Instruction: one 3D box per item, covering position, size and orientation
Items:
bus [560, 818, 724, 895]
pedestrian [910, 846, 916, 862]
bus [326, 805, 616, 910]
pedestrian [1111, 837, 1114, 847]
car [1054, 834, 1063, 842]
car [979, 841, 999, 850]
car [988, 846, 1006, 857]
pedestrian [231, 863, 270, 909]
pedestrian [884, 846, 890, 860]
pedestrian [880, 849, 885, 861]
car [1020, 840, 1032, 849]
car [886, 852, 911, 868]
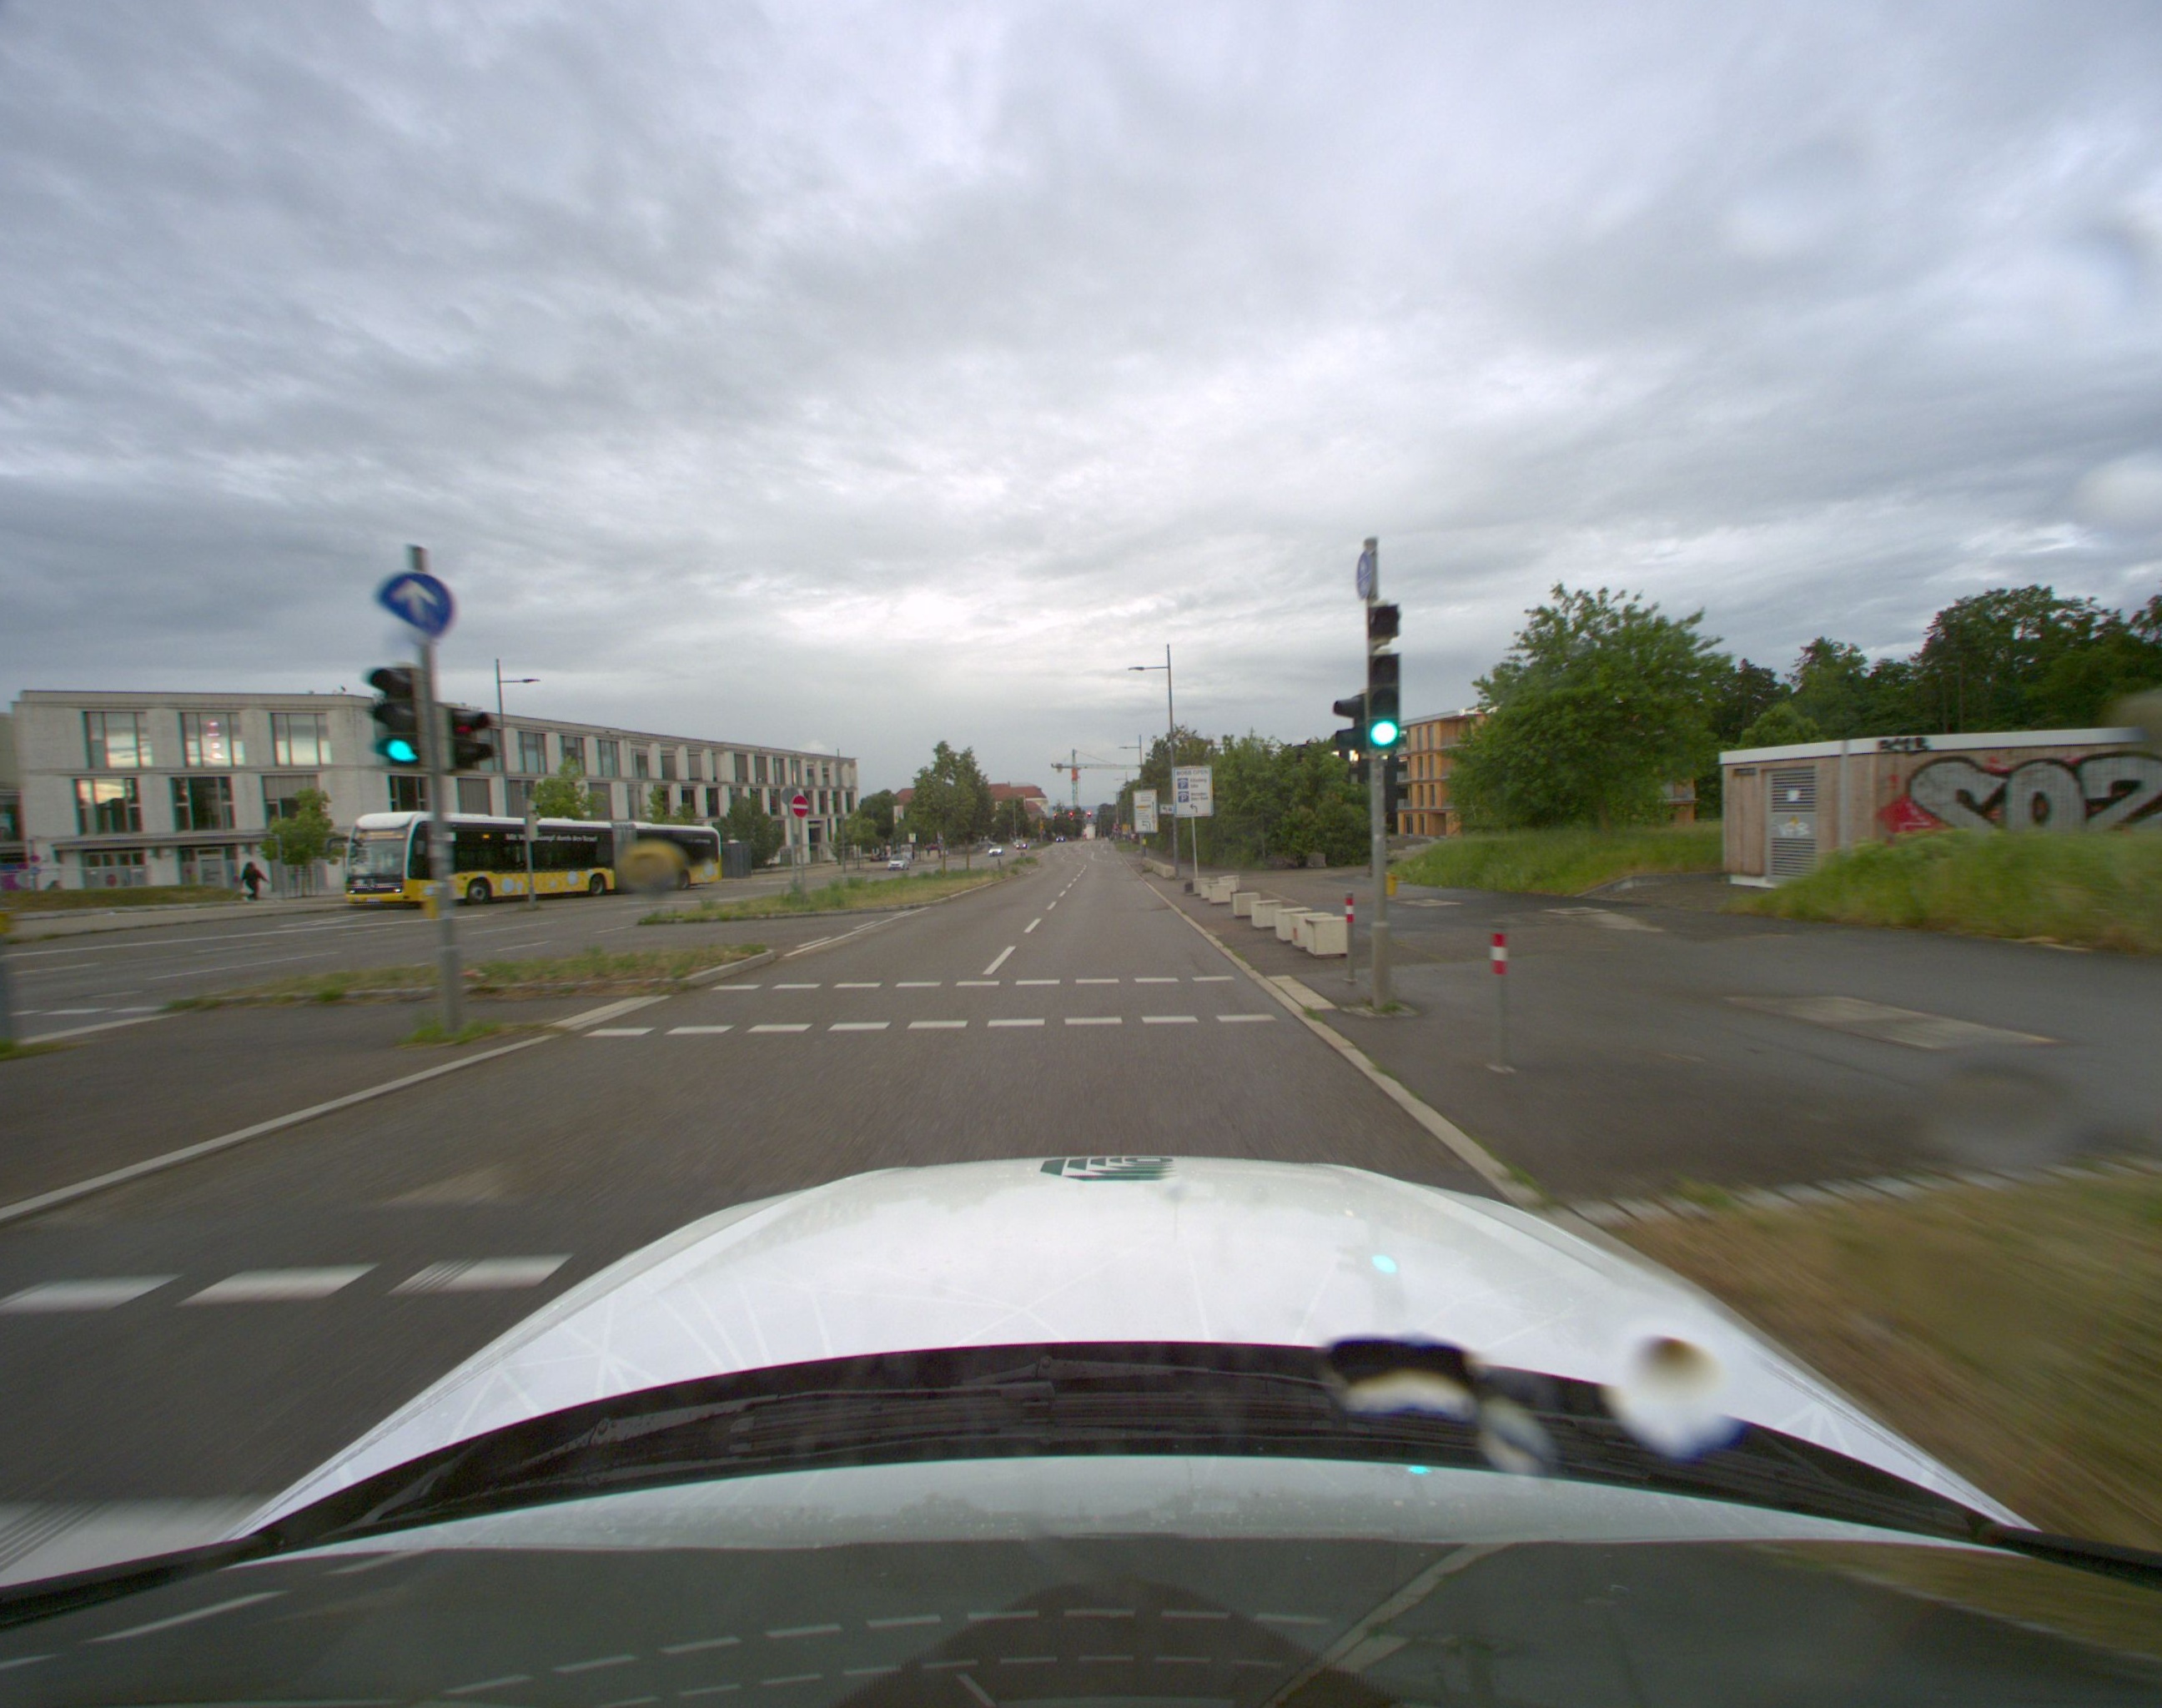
[{"bbox_3d":[-21.823,0.099,41.171,2.805,3.472,8.252,-1,0,9],"label":"bus"},{"bbox_3d":[-20.013,0.031,97.172,0.505,1.842,0.756,-2,1,1],"label":"pedestrian"},{"bbox_3d":[-23.220,0.114,32.123,2.805,3.472,9.999,-1,0,9],"label":"bus"},{"bbox_3d":[6.044,-2.312,157.362,0.398,2.013,0.515,-5,1,7],"label":"pedestrian"},{"bbox_3d":[-5.931,-4.218,214.948,1.987,1.838,3.999,-1,0,0],"label":"car"},{"bbox_3d":[-19.983,-1.803,176.427,3.948,1.878,2.013,-1,0,38],"label":"car"},{"bbox_3d":[-12.104,-0.336,117.967,1.986,1.418,4.515,-2,1,2],"label":"car"},{"bbox_3d":[-31.571,1.219,30.965,0.558,1.696,0.873,-2,0,5],"label":"pedestrian"},{"bbox_3d":[-24.634,-0.105,103.440,0.522,1.725,0.567,-2,1,4],"label":"pedestrian"},{"bbox_3d":[-25.397,0.095,104.007,0.424,1.451,0.510,-2,1,2],"label":"pedestrian"},{"bbox_3d":[-10.116,-1.764,149.572,1.840,1.462,3.869,-3,1,2],"label":"car"},{"bbox_3d":[-17.627,0.582,78.624,1.608,1.508,2.974,-1,1,1],"label":"car"}]
